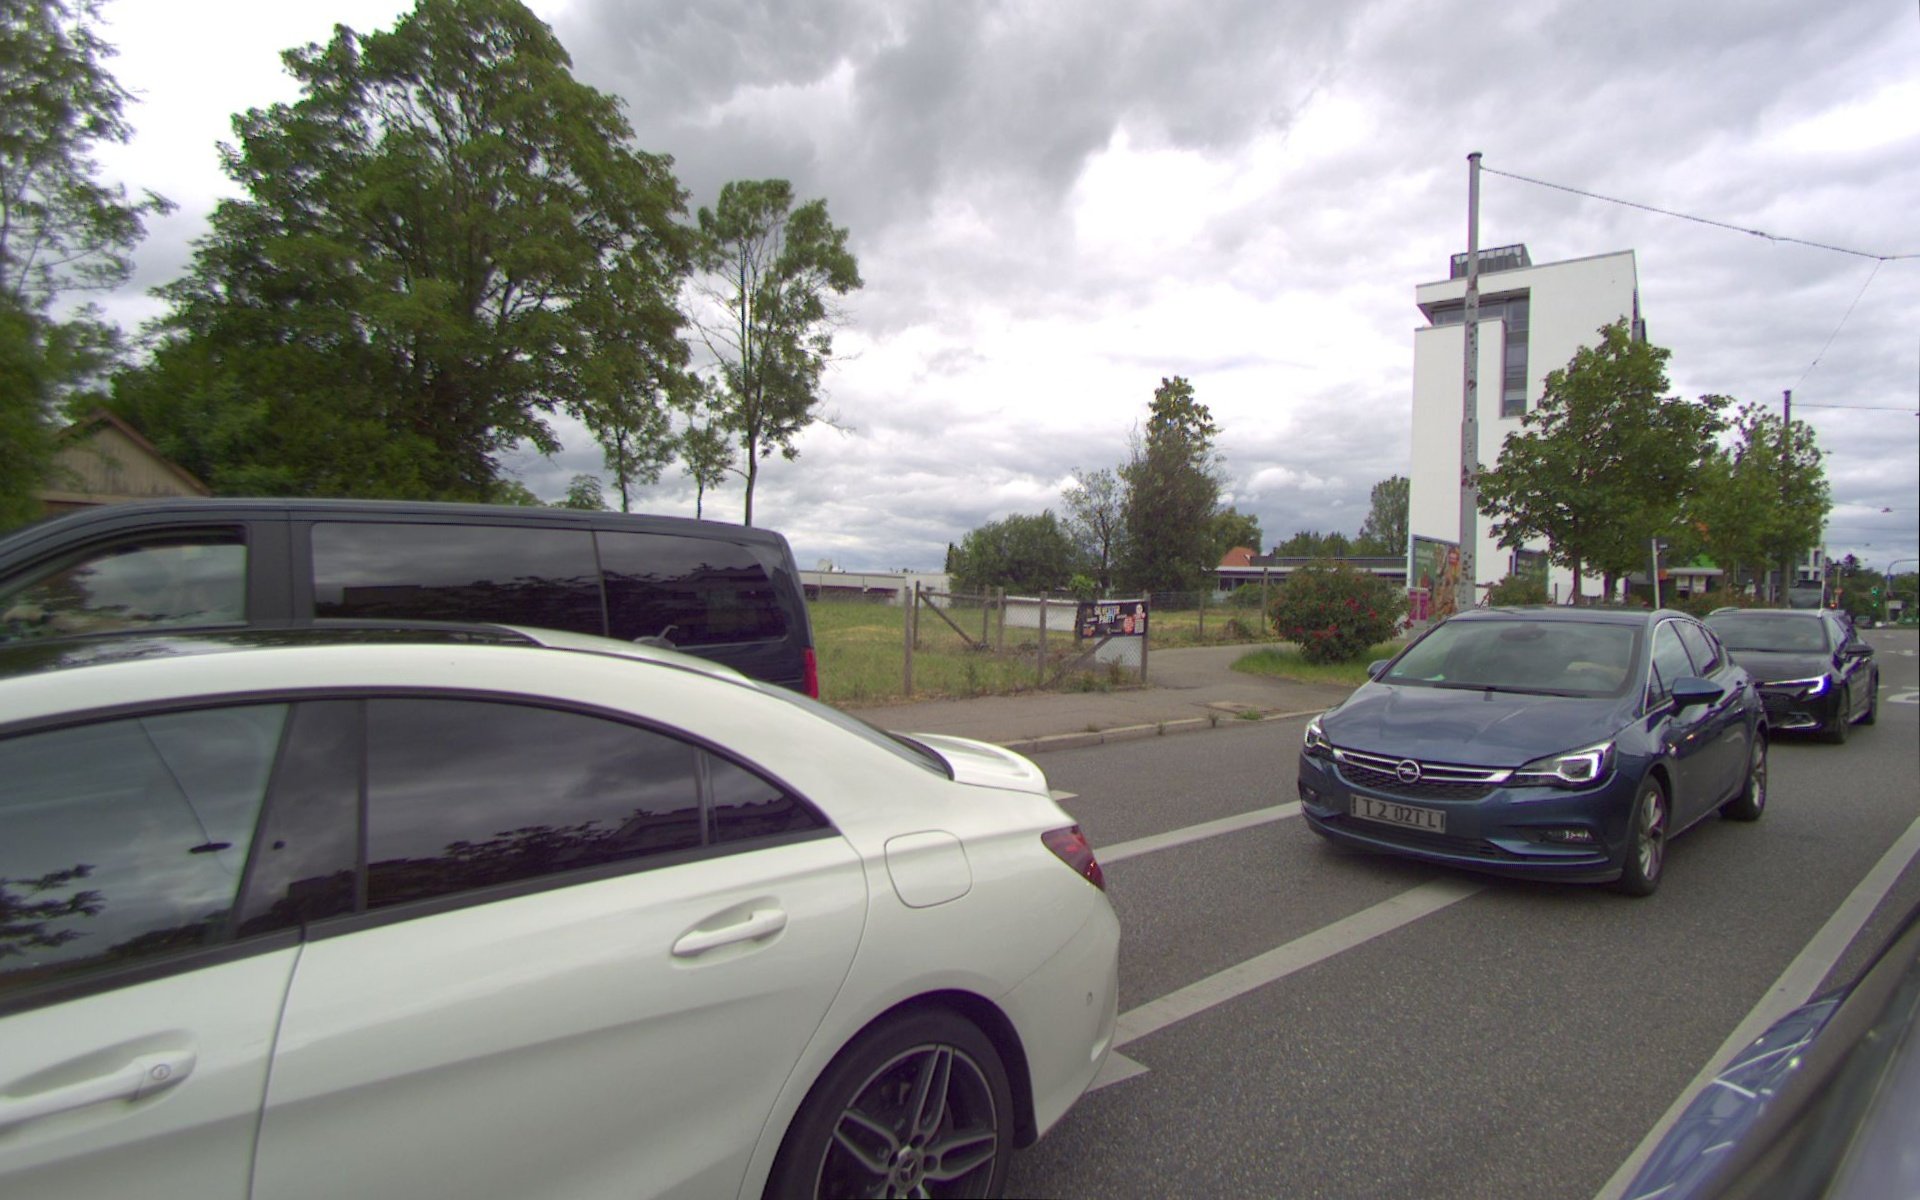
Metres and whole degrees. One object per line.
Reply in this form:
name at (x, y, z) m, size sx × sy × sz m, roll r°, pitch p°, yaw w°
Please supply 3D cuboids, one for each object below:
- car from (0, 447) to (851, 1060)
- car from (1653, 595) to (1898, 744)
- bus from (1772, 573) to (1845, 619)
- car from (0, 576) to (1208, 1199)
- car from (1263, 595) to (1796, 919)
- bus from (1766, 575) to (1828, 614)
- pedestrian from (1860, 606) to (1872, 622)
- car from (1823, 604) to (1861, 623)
car at (-2.931, 0.467, 4.370) m, size 4.627 × 1.863 × 1.952 m, roll 0°, pitch -1°, yaw -41°
car at (9.743, 0.682, 11.992) m, size 3.854 × 1.475 × 1.663 m, roll 0°, pitch 0°, yaw -42°
bus at (53.955, -0.318, 64.576) m, size 2.952 × 2.664 × 11.986 m, roll 0°, pitch 1°, yaw 37°
car at (-1.535, 0.693, 1.815) m, size 4.300 × 1.451 × 1.652 m, roll 0°, pitch 1°, yaw -41°
car at (3.813, 0.689, 6.482) m, size 3.931 × 1.428 × 1.825 m, roll 0°, pitch 0°, yaw -42°
bus at (61.422, -0.452, 74.476) m, size 2.952 × 2.664 × 12.751 m, roll 0°, pitch 1°, yaw 37°
pedestrian at (117.072, 1.805, 130.783) m, size 0.969 × 2.039 × 0.979 m, roll 0°, pitch 0°, yaw 36°
car at (76.563, 1.136, 87.922) m, size 1.838 × 1.637 × 3.741 m, roll -1°, pitch 0°, yaw 31°
